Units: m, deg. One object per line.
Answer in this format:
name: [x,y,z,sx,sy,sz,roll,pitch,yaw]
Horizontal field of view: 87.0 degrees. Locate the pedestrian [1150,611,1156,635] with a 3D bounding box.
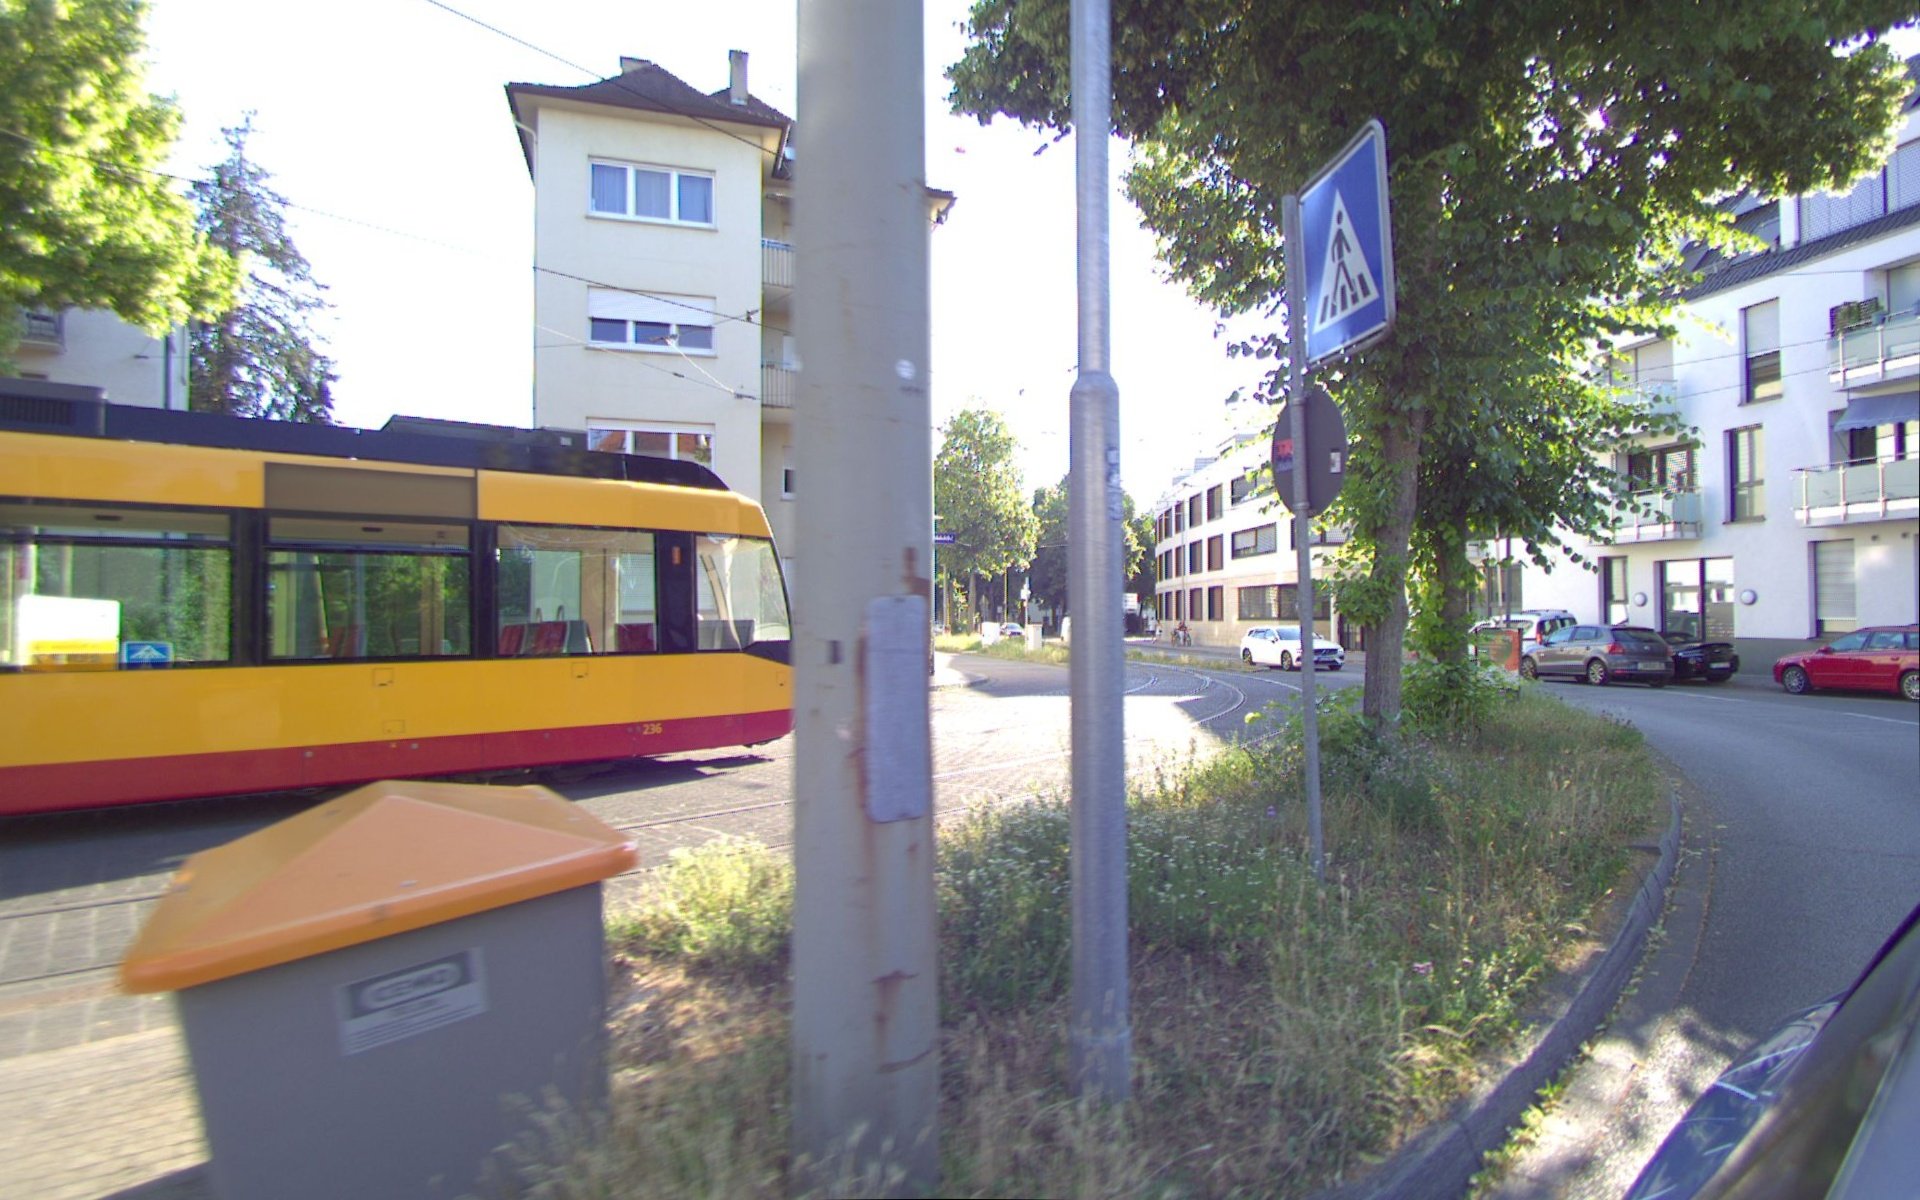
pedestrian: [14.079,1.713,73.980,0.394,1.747,0.398,-1,-1,14]

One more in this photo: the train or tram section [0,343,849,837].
train or tram section: [-7.376,-0.074,8.458,13.215,3.465,2.965,1,-1,-38]

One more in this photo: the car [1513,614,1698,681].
car: [15.358,1.083,24.350,1.574,1.481,3.906,1,-1,-8]

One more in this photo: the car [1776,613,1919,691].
car: [19.004,1.024,20.320,1.575,1.481,4.208,0,-2,-4]

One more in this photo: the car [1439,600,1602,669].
car: [17.200,1.001,31.322,1.958,1.981,4.281,0,0,-16]

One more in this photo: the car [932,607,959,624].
car: [-1.453,1.481,99.003,1.959,1.604,4.941,0,0,-8]

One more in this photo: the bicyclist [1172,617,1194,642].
bicyclist: [14.091,1.865,64.036,1.129,1.538,0.954,0,-1,-3]

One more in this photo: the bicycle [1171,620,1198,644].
bicycle: [14.095,2.004,63.642,0.912,1.411,2.978,0,-1,-2]

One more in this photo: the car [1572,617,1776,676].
car: [18.098,1.145,25.912,1.896,1.364,4.130,0,-1,-8]

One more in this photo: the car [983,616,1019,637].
car: [3.265,2.090,81.649,1.959,1.604,4.941,0,0,-8]

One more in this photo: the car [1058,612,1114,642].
car: [7.198,1.517,58.236,1.959,1.604,4.941,0,0,-8]

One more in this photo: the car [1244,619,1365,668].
car: [11.218,1.392,33.363,1.959,1.481,4.454,1,-1,-8]
